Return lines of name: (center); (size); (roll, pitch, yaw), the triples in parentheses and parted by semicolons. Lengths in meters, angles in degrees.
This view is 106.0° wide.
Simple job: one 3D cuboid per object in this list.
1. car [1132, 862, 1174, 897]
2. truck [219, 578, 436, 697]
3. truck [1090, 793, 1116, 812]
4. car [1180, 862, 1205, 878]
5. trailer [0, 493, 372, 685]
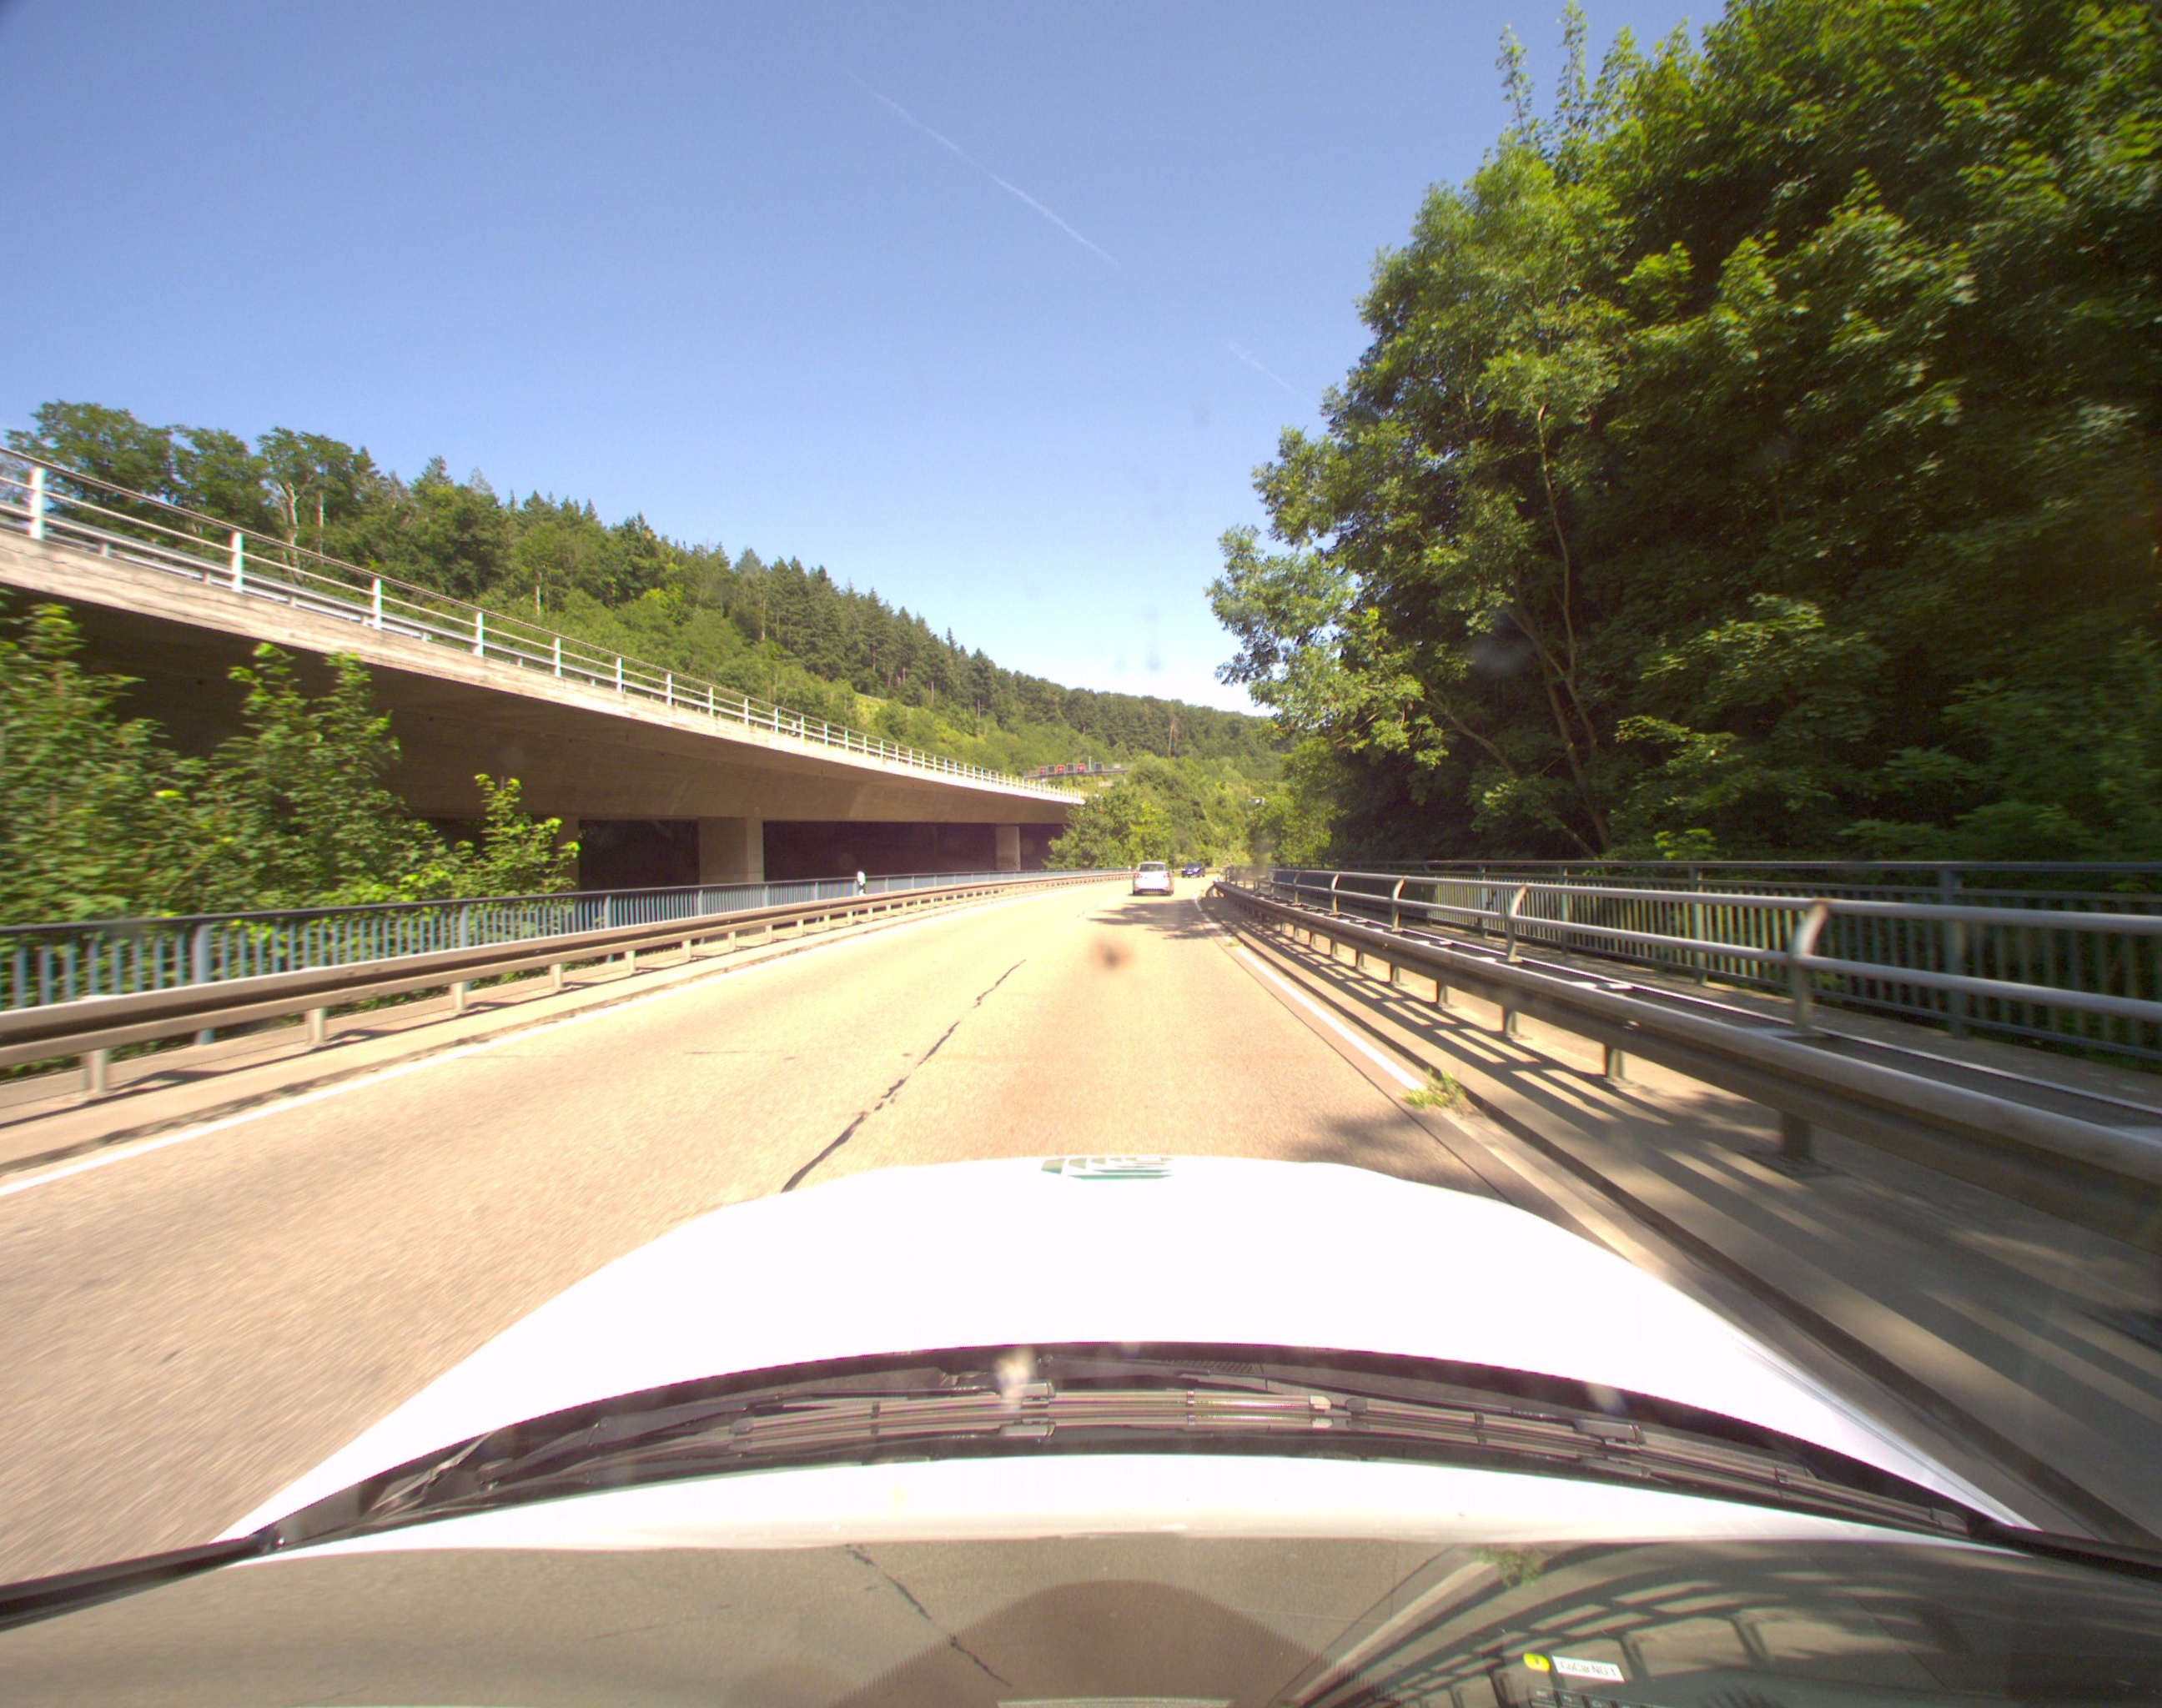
car: (3.377, 1.165, 37.695); (1.741, 1.520, 4.167); (0, -1, 8)
truck: (-26.713, -7.577, 29.253); (2.383, 2.878, 5.474); (0, 1, 5)
truck: (4.608, -10.677, 169.794); (3.346, 3.354, 10.215); (0, 1, 14)
car: (11.668, 1.687, 84.856); (1.884, 1.581, 4.574); (0, -1, 16)
trailer: (-27.369, -7.464, 23.009); (2.383, 2.878, 12.962); (0, 1, 5)
